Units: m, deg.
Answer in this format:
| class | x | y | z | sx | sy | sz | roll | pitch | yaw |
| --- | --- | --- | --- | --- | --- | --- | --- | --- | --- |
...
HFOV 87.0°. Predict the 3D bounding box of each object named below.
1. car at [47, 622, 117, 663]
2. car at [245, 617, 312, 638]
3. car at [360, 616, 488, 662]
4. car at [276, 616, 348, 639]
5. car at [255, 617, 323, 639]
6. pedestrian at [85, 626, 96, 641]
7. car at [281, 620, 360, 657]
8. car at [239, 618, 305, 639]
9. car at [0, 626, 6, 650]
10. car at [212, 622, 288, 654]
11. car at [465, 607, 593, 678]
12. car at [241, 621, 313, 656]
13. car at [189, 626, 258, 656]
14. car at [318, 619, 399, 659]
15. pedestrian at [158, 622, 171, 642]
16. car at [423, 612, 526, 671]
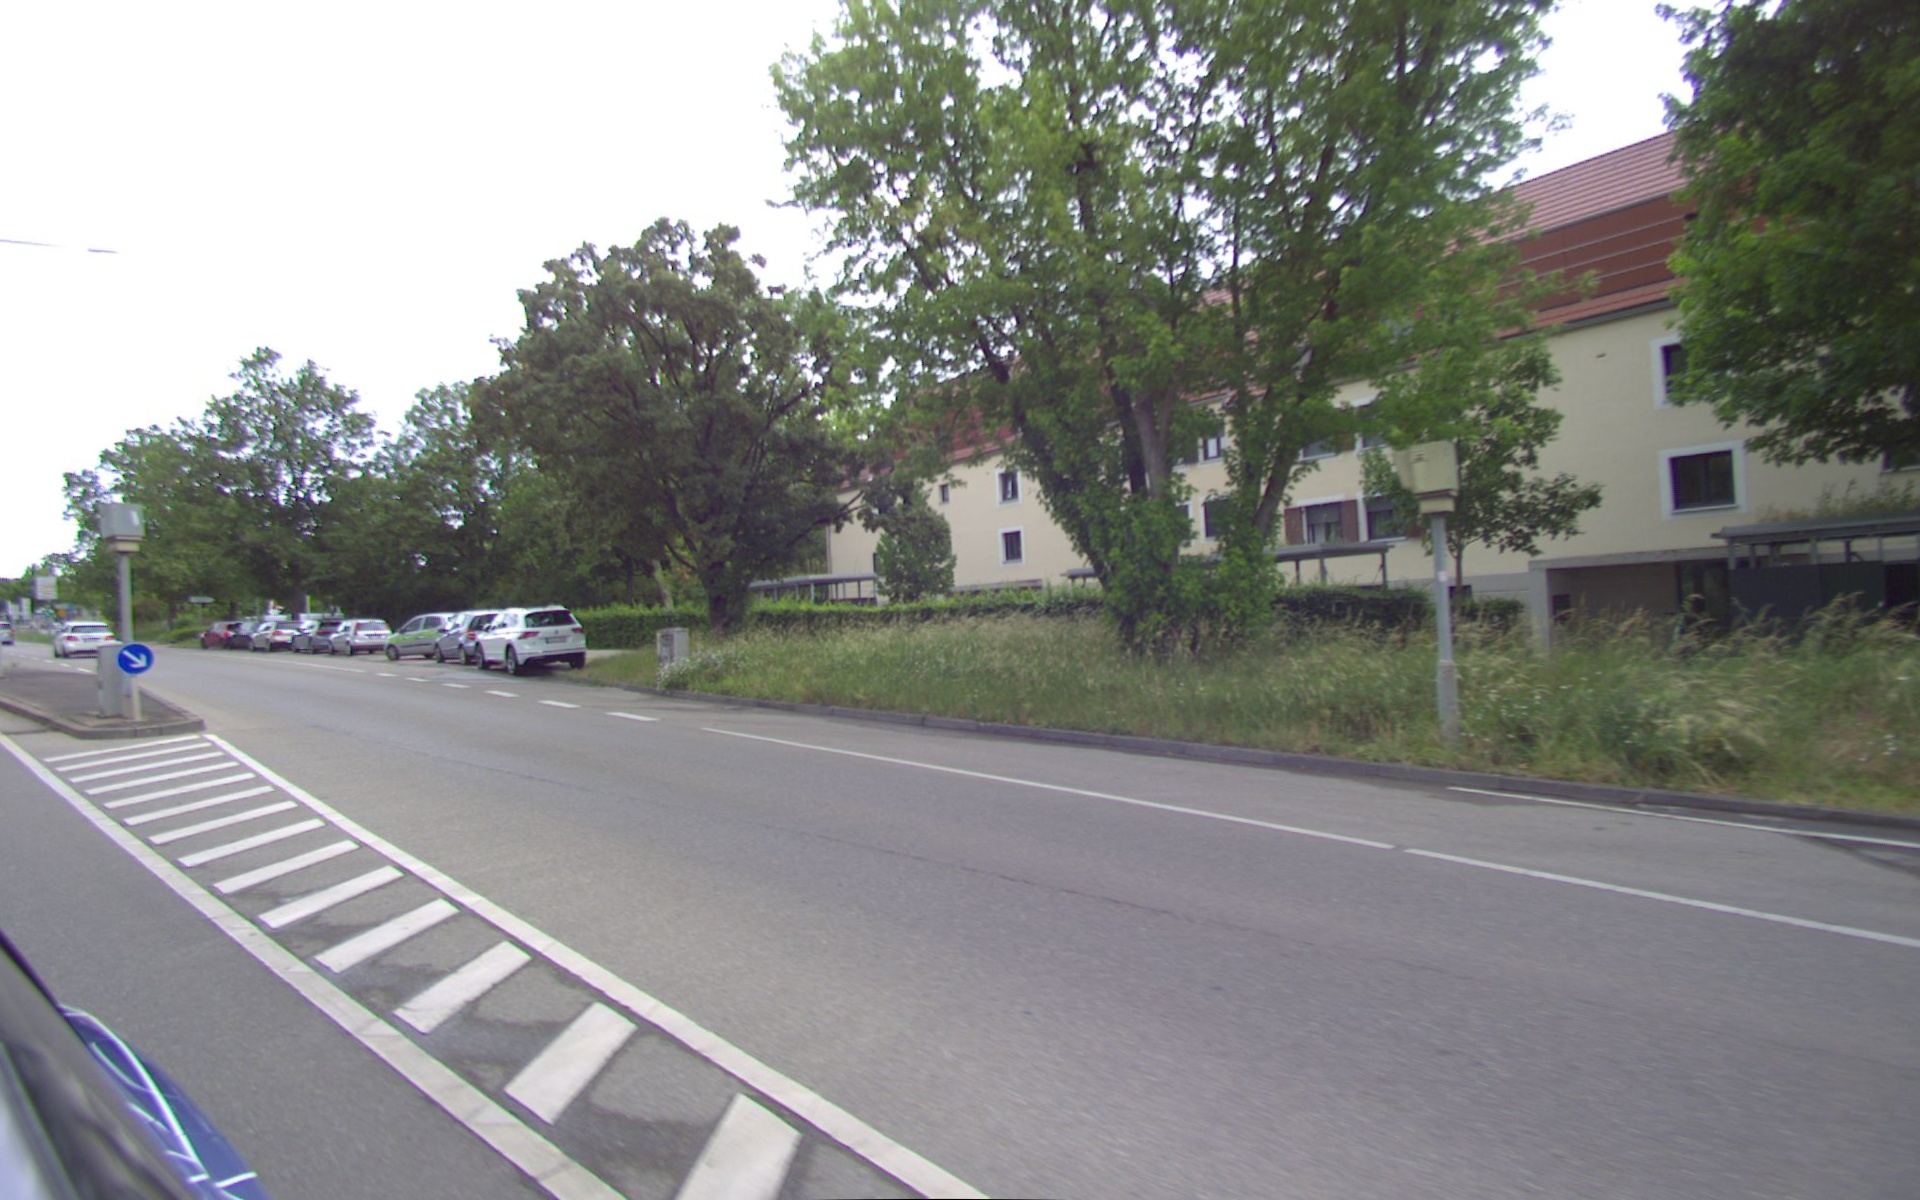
| class | x | y | z | sx | sy | sz | roll | pitch | yaw |
| --- | --- | --- | --- | --- | --- | --- | --- | --- | --- |
| car | -38.315 | 1.795 | 44.120 | 4.339 | 1.582 | 1.855 | 0 | 1 | 43 |
| car | -67.693 | 2.733 | 100.562 | 1.738 | 2.029 | 5.230 | -1 | -2 | 40 |
| car | -18.674 | 1.371 | 35.286 | 3.974 | 1.518 | 1.867 | -2 | -1 | 23 |
| car | -59.322 | 2.539 | 92.718 | 2.010 | 2.029 | 5.230 | -1 | -2 | 40 |
| car | -65.151 | 2.706 | 98.373 | 1.739 | 2.029 | 5.228 | -1 | -2 | 41 |
| pedestrian | -87.581 | 3.330 | 101.895 | 0.639 | 1.458 | 0.747 | -1 | 0 | 41 |
| car | -28.466 | 1.707 | 45.029 | 3.997 | 1.518 | 1.856 | -2 | -1 | 41 |
| car | -69.521 | 2.861 | 102.366 | 1.738 | 2.029 | 5.230 | -1 | -2 | 40 |
| car | -75.023 | 2.937 | 77.935 | 4.404 | 1.783 | 1.809 | -2 | 0 | 41 |
| car | -37.002 | 1.968 | 52.706 | 3.987 | 1.518 | 1.861 | -1 | 0 | 33 |
| car | -11.564 | 1.078 | 26.997 | 1.852 | 1.679 | 4.397 | -1 | 0 | -41 |
| car | -32.881 | 1.827 | 48.723 | 4.054 | 1.518 | 1.856 | -2 | 0 | 41 |
| car | -40.296 | 2.226 | 55.373 | 3.879 | 1.518 | 1.859 | -2 | 0 | 35 |
| car | -24.856 | 1.591 | 41.758 | 4.000 | 1.518 | 1.855 | -2 | -1 | 43 |
| pedestrian | -73.120 | 2.954 | 93.001 | 0.637 | 1.750 | 0.749 | -1 | 0 | 33 |
| car | -15.090 | 1.233 | 31.366 | 1.852 | 1.608 | 4.006 | -1 | 1 | -41 |
